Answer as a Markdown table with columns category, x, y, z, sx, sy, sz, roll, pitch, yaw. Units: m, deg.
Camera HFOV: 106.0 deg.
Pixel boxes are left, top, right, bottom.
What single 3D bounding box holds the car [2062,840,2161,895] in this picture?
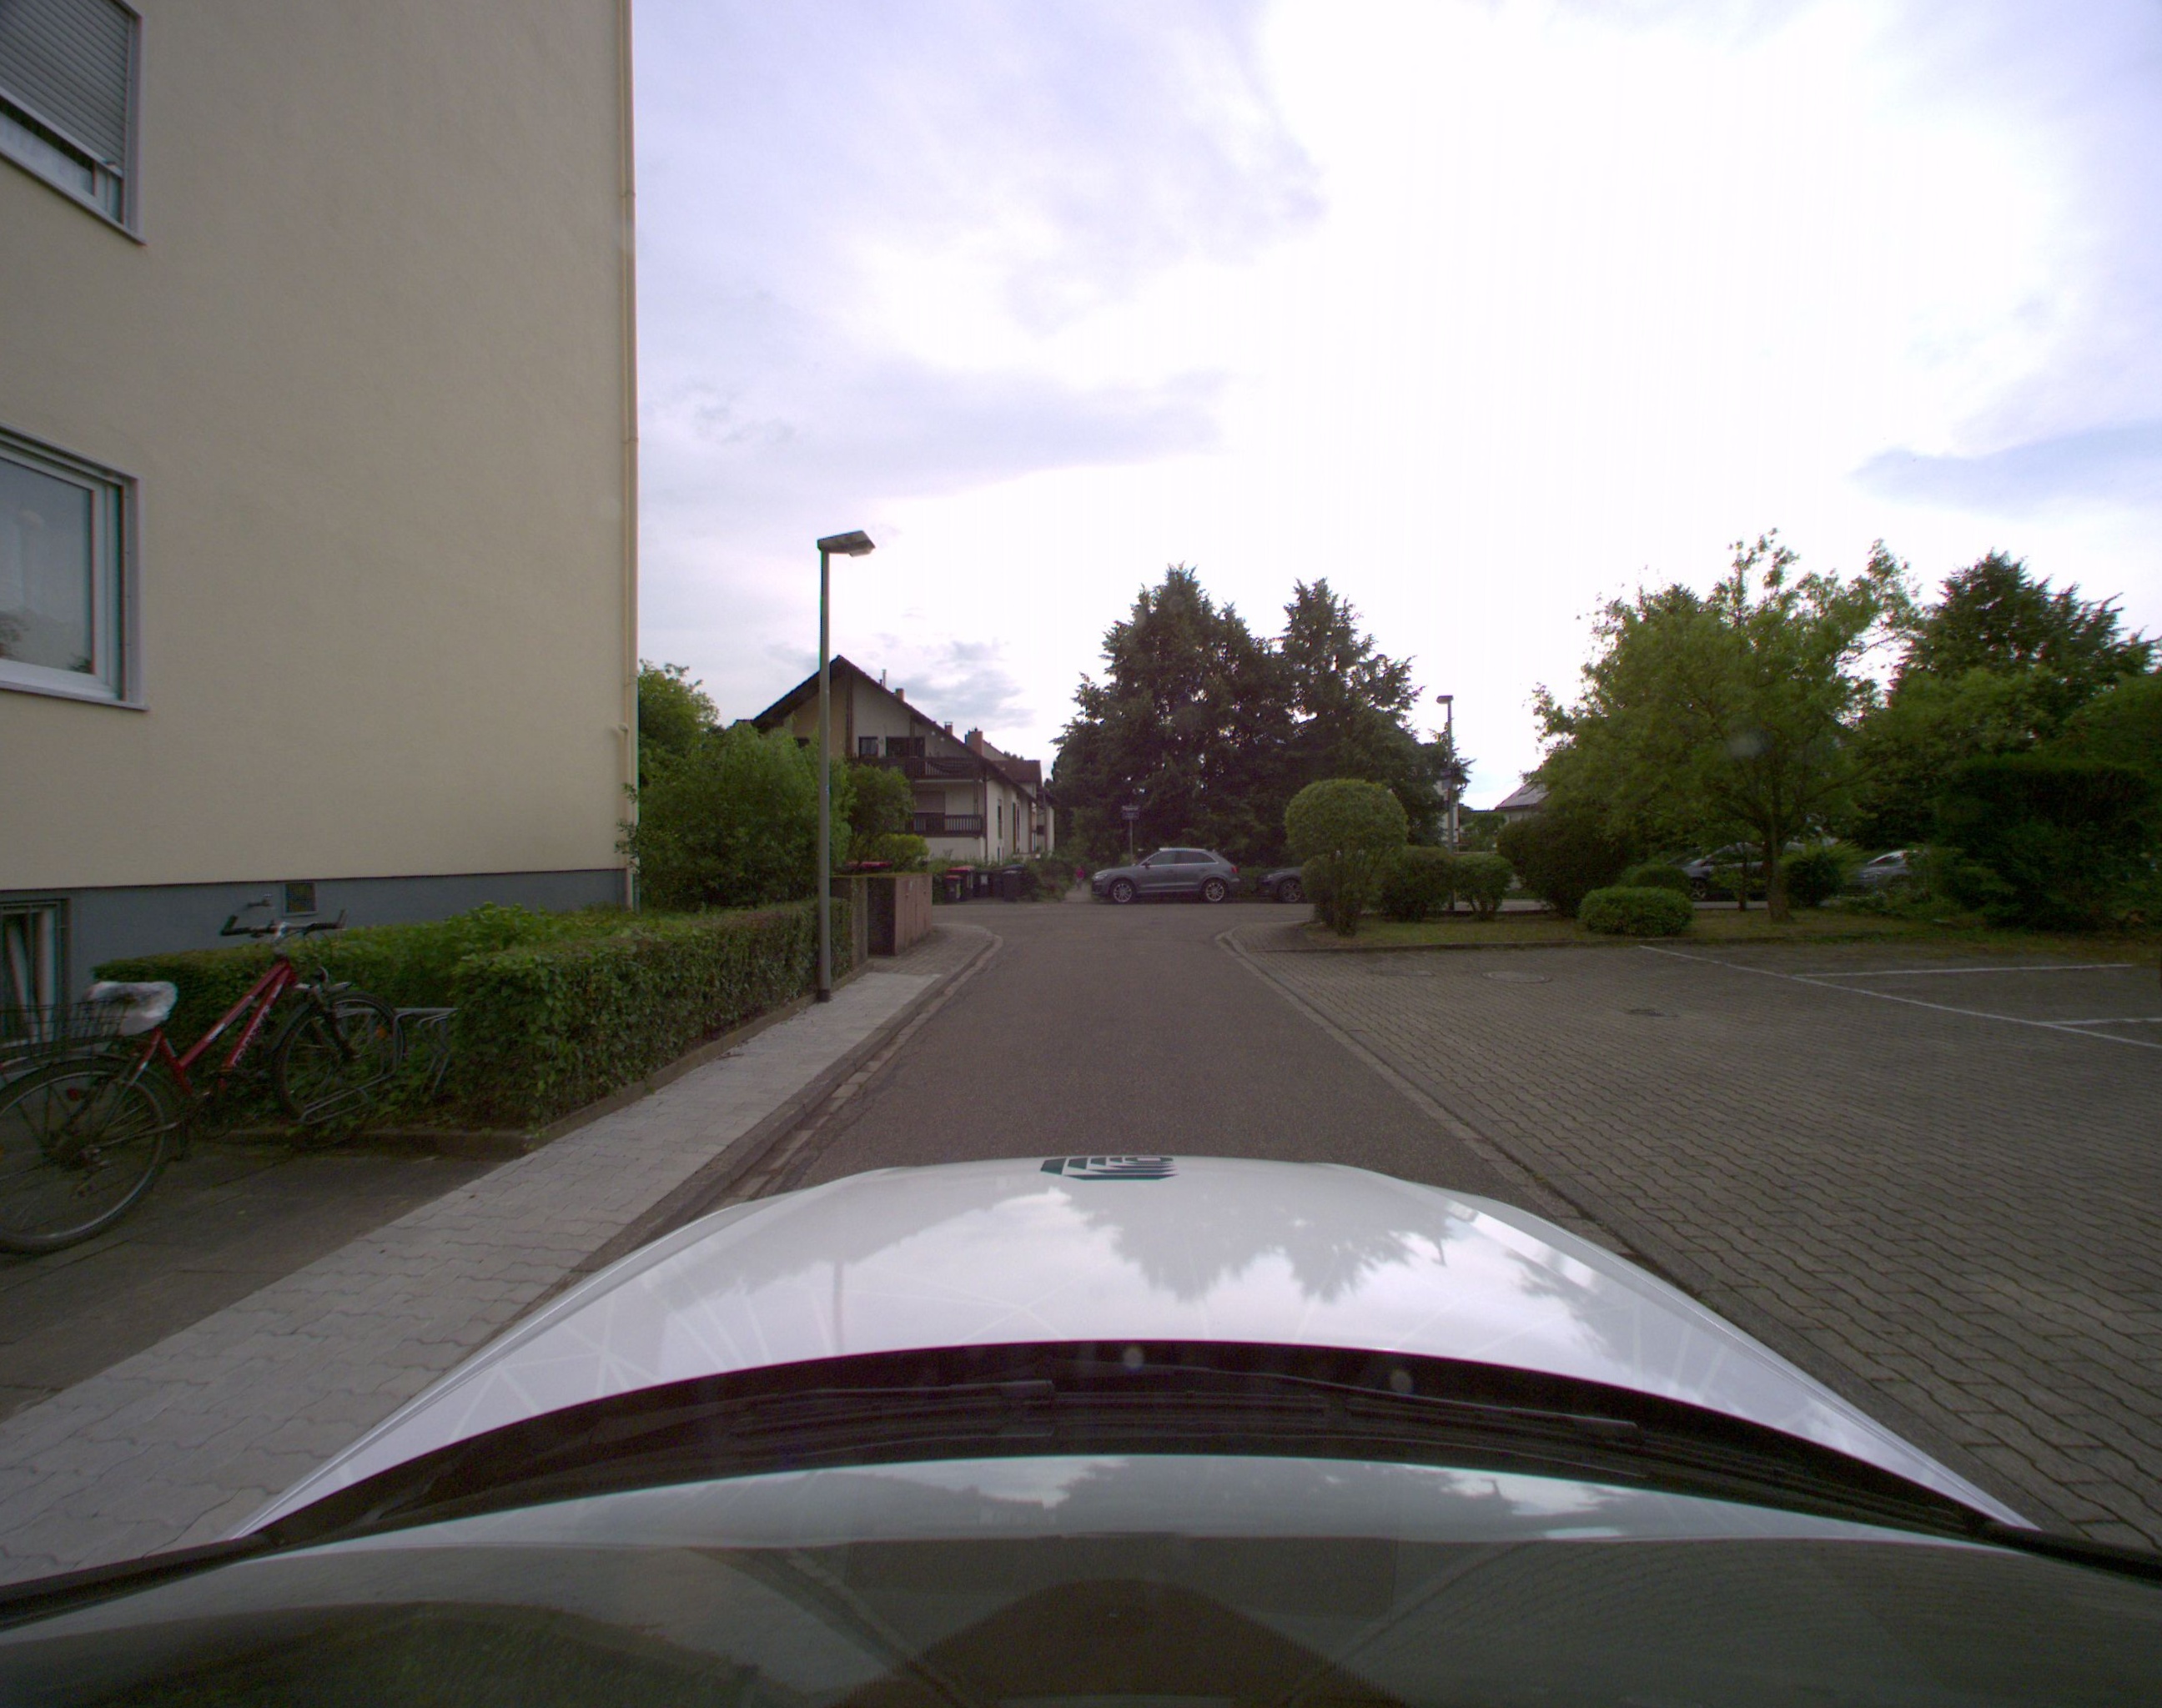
| category | x | y | z | sx | sy | sz | roll | pitch | yaw |
| --- | --- | --- | --- | --- | --- | --- | --- | --- | --- |
| car | 29.795 | 0.344 | 21.864 | 4.441 | 1.428 | 1.785 | -1 | -2 | 6 |

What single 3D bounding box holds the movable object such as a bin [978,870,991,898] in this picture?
| category | x | y | z | sx | sy | sz | roll | pitch | yaw |
| --- | --- | --- | --- | --- | --- | --- | --- | --- | --- |
| movable object such as a bin | -3.216 | 1.006 | 27.224 | 0.385 | 0.901 | 0.379 | 0 | 0 | -2 |

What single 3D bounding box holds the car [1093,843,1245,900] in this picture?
| category | x | y | z | sx | sy | sz | roll | pitch | yaw |
| --- | --- | --- | --- | --- | --- | --- | --- | --- | --- |
| car | 2.455 | 0.512 | 23.504 | 4.223 | 1.531 | 1.747 | 0 | -2 | 0 |

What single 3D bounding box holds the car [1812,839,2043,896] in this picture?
| category | x | y | z | sx | sy | sz | roll | pitch | yaw |
| --- | --- | --- | --- | --- | --- | --- | --- | --- | --- |
| car | 23.229 | 0.395 | 22.498 | 4.270 | 1.479 | 1.766 | -1 | -2 | 6 |

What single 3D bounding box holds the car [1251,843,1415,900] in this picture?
| category | x | y | z | sx | sy | sz | roll | pitch | yaw |
| --- | --- | --- | --- | --- | --- | --- | --- | --- | --- |
| car | 7.035 | 0.504 | 23.087 | 4.161 | 1.531 | 1.750 | -1 | -2 | 5 |

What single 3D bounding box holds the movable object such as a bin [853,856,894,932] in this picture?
| category | x | y | z | sx | sy | sz | roll | pitch | yaw |
| --- | --- | --- | --- | --- | --- | --- | --- | --- | --- |
| movable object such as a bin | -3.370 | 0.643 | 13.268 | 0.503 | 1.187 | 0.515 | -2 | 0 | -1 |

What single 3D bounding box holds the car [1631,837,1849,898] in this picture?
| category | x | y | z | sx | sy | sz | roll | pitch | yaw |
| --- | --- | --- | --- | --- | --- | --- | --- | --- | --- |
| car | 18.173 | 0.398 | 22.631 | 4.518 | 1.594 | 1.764 | -1 | -2 | 3 |

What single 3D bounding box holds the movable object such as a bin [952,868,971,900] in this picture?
| category | x | y | z | sx | sy | sz | roll | pitch | yaw |
| --- | --- | --- | --- | --- | --- | --- | --- | --- | --- |
| movable object such as a bin | -3.799 | 0.962 | 25.845 | 0.535 | 0.994 | 0.379 | 0 | 0 | -2 |

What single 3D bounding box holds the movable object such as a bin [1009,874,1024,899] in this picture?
| category | x | y | z | sx | sy | sz | roll | pitch | yaw |
| --- | --- | --- | --- | --- | --- | --- | --- | --- | --- |
| movable object such as a bin | -2.148 | 1.068 | 27.013 | 0.458 | 0.797 | 0.379 | 0 | 0 | -2 |

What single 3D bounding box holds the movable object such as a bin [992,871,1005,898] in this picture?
| category | x | y | z | sx | sy | sz | roll | pitch | yaw |
| --- | --- | --- | --- | --- | --- | --- | --- | --- | --- |
| movable object such as a bin | -2.755 | 1.022 | 27.234 | 0.385 | 0.889 | 0.379 | 0 | 0 | -2 |

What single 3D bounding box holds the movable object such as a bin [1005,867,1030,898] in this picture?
| category | x | y | z | sx | sy | sz | roll | pitch | yaw |
| --- | --- | --- | --- | --- | --- | --- | --- | --- | --- |
| movable object such as a bin | -2.053 | 0.923 | 26.450 | 0.731 | 0.953 | 0.584 | 0 | 0 | 0 |

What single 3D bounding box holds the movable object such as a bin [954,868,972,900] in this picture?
| category | x | y | z | sx | sy | sz | roll | pitch | yaw |
| --- | --- | --- | --- | --- | --- | --- | --- | --- | --- |
| movable object such as a bin | -3.798 | 0.966 | 26.217 | 0.535 | 0.994 | 0.337 | 0 | 0 | -2 |

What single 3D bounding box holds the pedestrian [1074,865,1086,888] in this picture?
| category | x | y | z | sx | sy | sz | roll | pitch | yaw |
| --- | --- | --- | --- | --- | --- | --- | --- | --- | --- |
| pedestrian | -0.095 | 1.540 | 55.895 | 0.813 | 1.517 | 0.438 | -1 | -1 | -2 |

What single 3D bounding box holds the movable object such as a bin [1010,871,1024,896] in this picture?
| category | x | y | z | sx | sy | sz | roll | pitch | yaw |
| --- | --- | --- | --- | --- | --- | --- | --- | --- | --- |
| movable object such as a bin | -2.154 | 0.994 | 27.439 | 0.458 | 0.797 | 0.379 | 0 | 0 | -2 |

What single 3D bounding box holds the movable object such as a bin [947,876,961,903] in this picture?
| category | x | y | z | sx | sy | sz | roll | pitch | yaw |
| --- | --- | --- | --- | --- | --- | --- | --- | --- | --- |
| movable object such as a bin | -3.945 | 1.107 | 25.336 | 0.385 | 0.836 | 0.379 | 0 | 0 | -2 |

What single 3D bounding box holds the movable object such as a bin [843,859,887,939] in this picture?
| category | x | y | z | sx | sy | sz | roll | pitch | yaw |
| --- | --- | --- | --- | --- | --- | --- | --- | --- | --- |
| movable object such as a bin | -3.330 | 0.679 | 12.598 | 0.503 | 1.187 | 0.515 | -2 | 0 | -1 |

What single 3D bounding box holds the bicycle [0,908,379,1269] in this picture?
| category | x | y | z | sx | sy | sz | roll | pitch | yaw |
| --- | --- | --- | --- | --- | --- | --- | --- | --- | --- |
| bicycle | -3.628 | 0.804 | 3.285 | 0.317 | 1.075 | 1.418 | 0 | 0 | 2 |

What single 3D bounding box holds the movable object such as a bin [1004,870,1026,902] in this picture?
| category | x | y | z | sx | sy | sz | roll | pitch | yaw |
| --- | --- | --- | --- | --- | --- | --- | --- | --- | --- |
| movable object such as a bin | -2.072 | 1.001 | 25.683 | 0.636 | 0.953 | 0.723 | 0 | 0 | 0 |

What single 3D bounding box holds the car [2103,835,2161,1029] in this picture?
| category | x | y | z | sx | sy | sz | roll | pitch | yaw |
| --- | --- | --- | --- | --- | --- | --- | --- | --- | --- |
| car | 10.338 | 0.590 | 5.681 | 3.884 | 1.510 | 2.028 | -1 | 1 | 0 |

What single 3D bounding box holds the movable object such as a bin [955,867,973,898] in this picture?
| category | x | y | z | sx | sy | sz | roll | pitch | yaw |
| --- | --- | --- | --- | --- | --- | --- | --- | --- | --- |
| movable object such as a bin | -3.817 | 0.940 | 26.571 | 0.535 | 0.994 | 0.337 | 0 | 0 | -2 |

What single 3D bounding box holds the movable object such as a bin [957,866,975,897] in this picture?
| category | x | y | z | sx | sy | sz | roll | pitch | yaw |
| --- | --- | --- | --- | --- | --- | --- | --- | --- | --- |
| movable object such as a bin | -3.814 | 0.911 | 27.043 | 0.535 | 0.994 | 0.337 | 0 | 0 | -2 |
